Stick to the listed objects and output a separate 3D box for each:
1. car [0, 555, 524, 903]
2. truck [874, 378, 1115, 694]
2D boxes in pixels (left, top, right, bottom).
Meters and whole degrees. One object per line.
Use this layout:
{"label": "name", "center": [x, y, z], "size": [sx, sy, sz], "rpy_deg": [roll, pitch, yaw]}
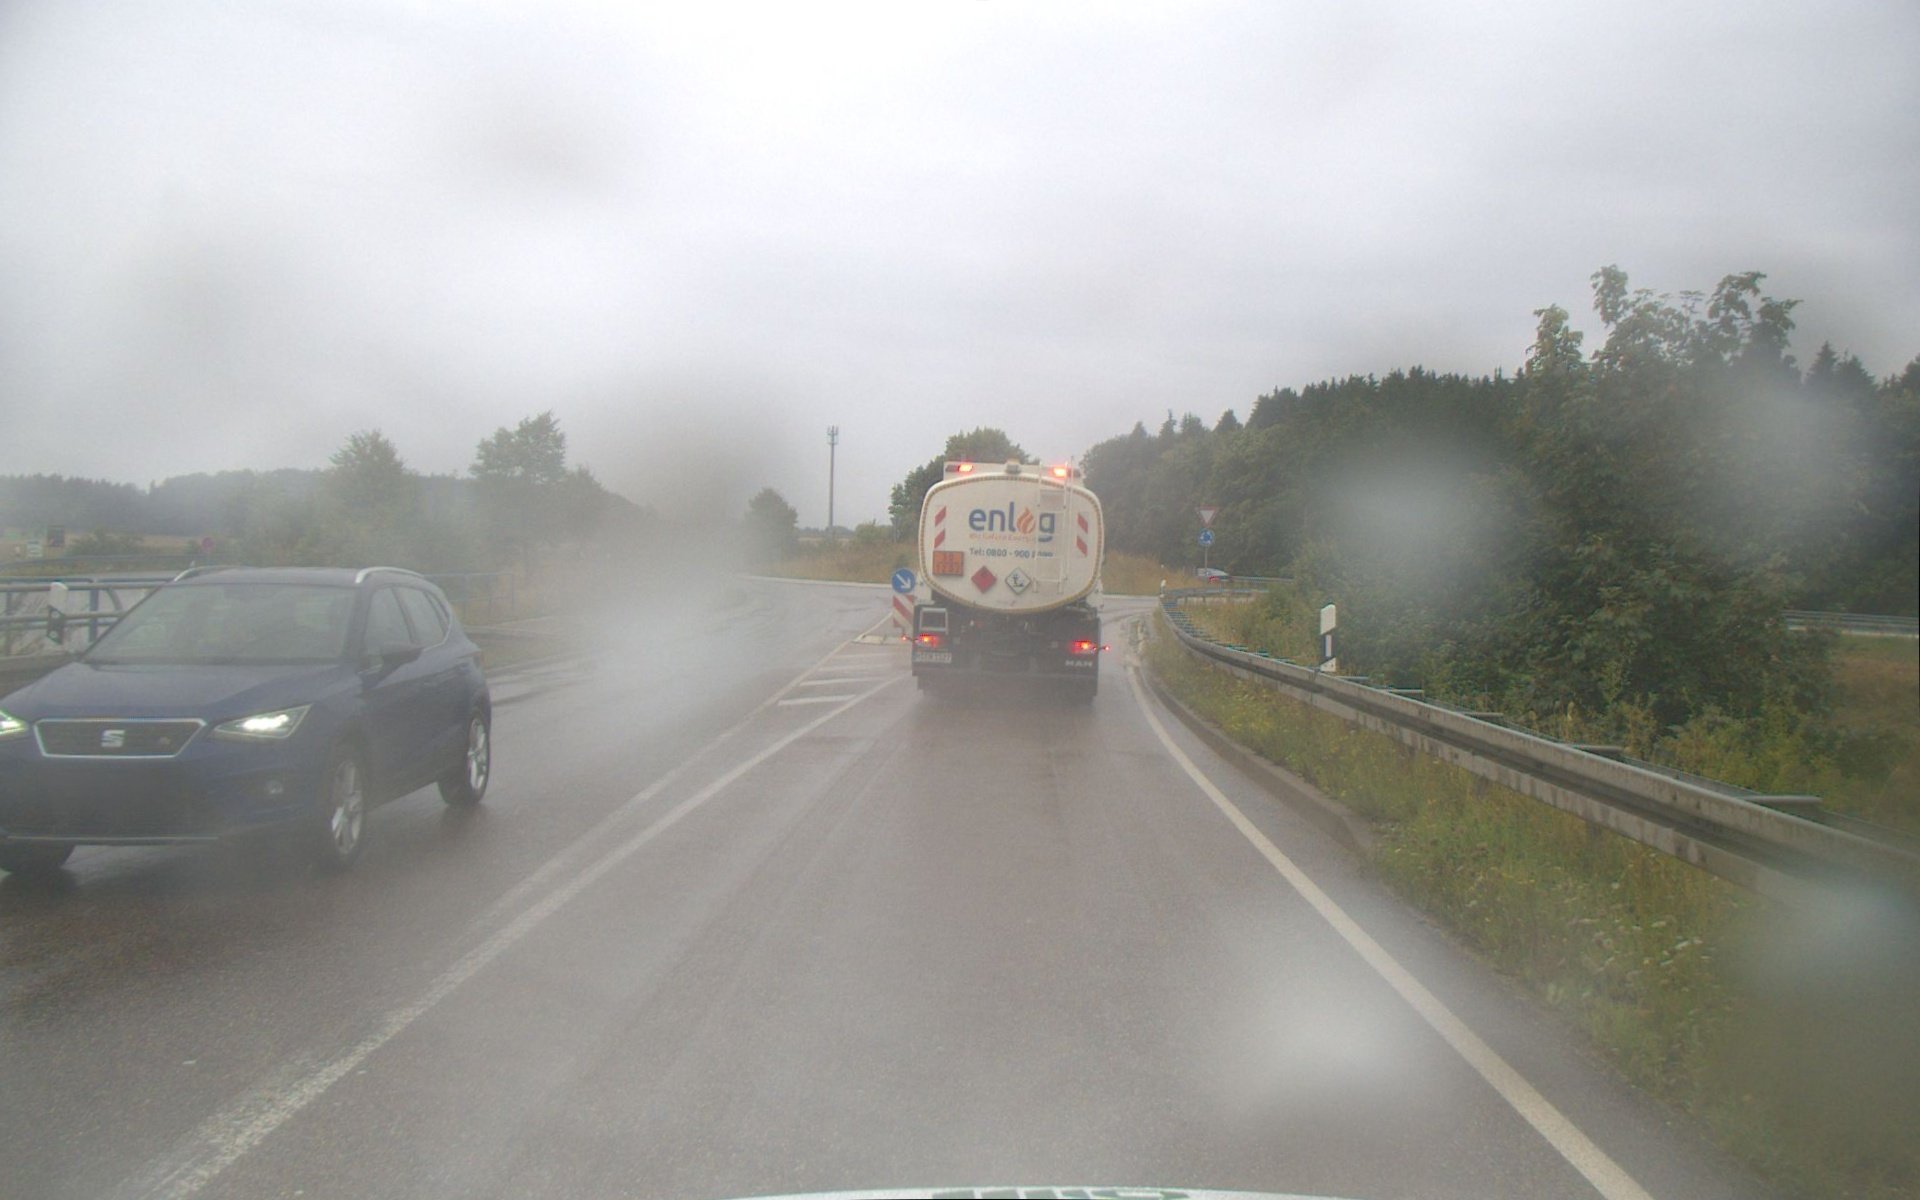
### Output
{"label": "car", "center": [-3.847, 0.555, 9.489], "size": [1.745, 1.552, 4.167], "rpy_deg": [0, 1, -3]}
{"label": "truck", "center": [0.701, -0.911, 25.170], "size": [2.975, 3.918, 8.827], "rpy_deg": [1, 1, 4]}
